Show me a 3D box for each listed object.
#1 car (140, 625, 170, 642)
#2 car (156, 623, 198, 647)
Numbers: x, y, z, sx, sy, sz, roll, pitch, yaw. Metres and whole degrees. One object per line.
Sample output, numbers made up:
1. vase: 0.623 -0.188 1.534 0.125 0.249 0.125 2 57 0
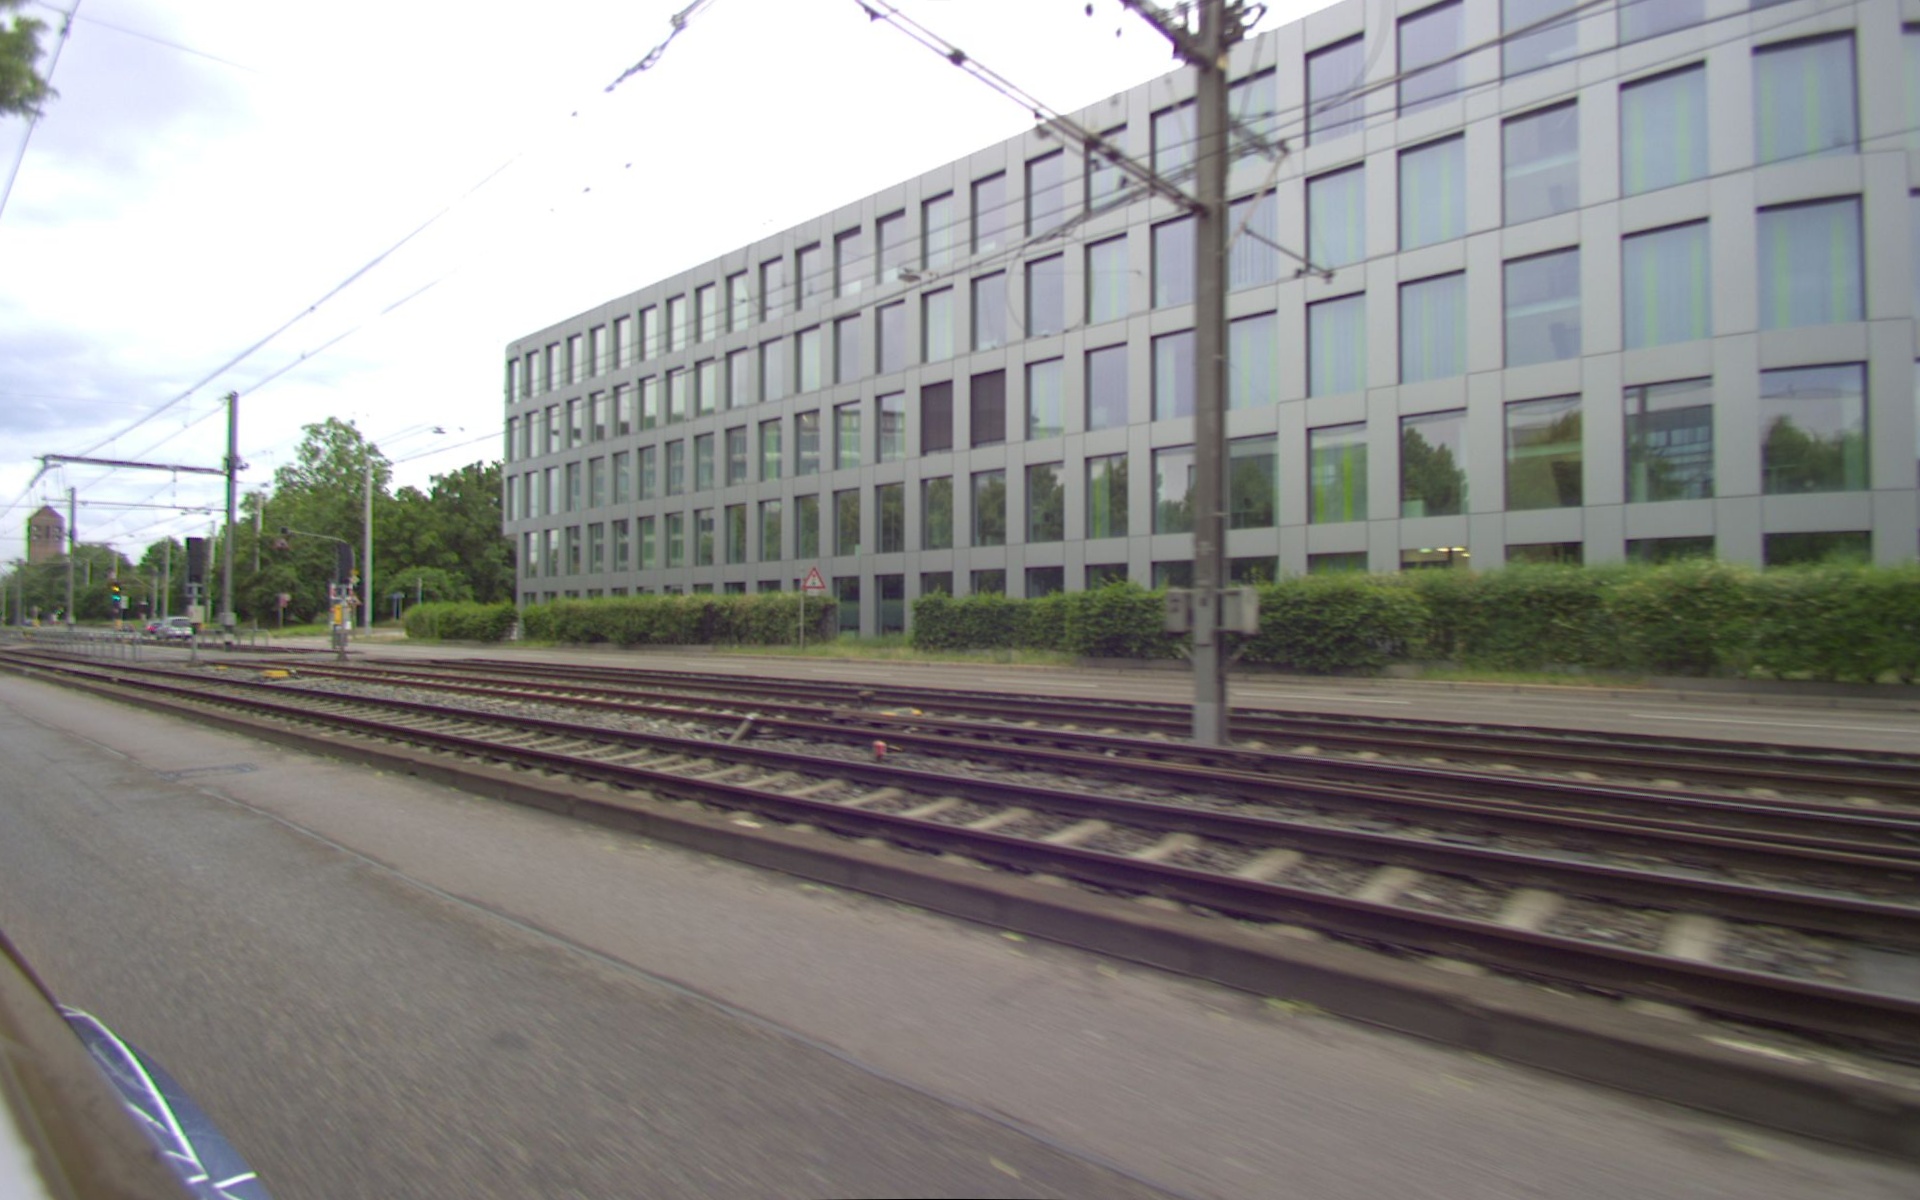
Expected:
1. car: -78.664 3.244 98.930 3.563 1.561 1.751 -2 -2 42
2. car: -56.790 2.525 73.409 3.562 1.649 1.788 -2 -2 42
